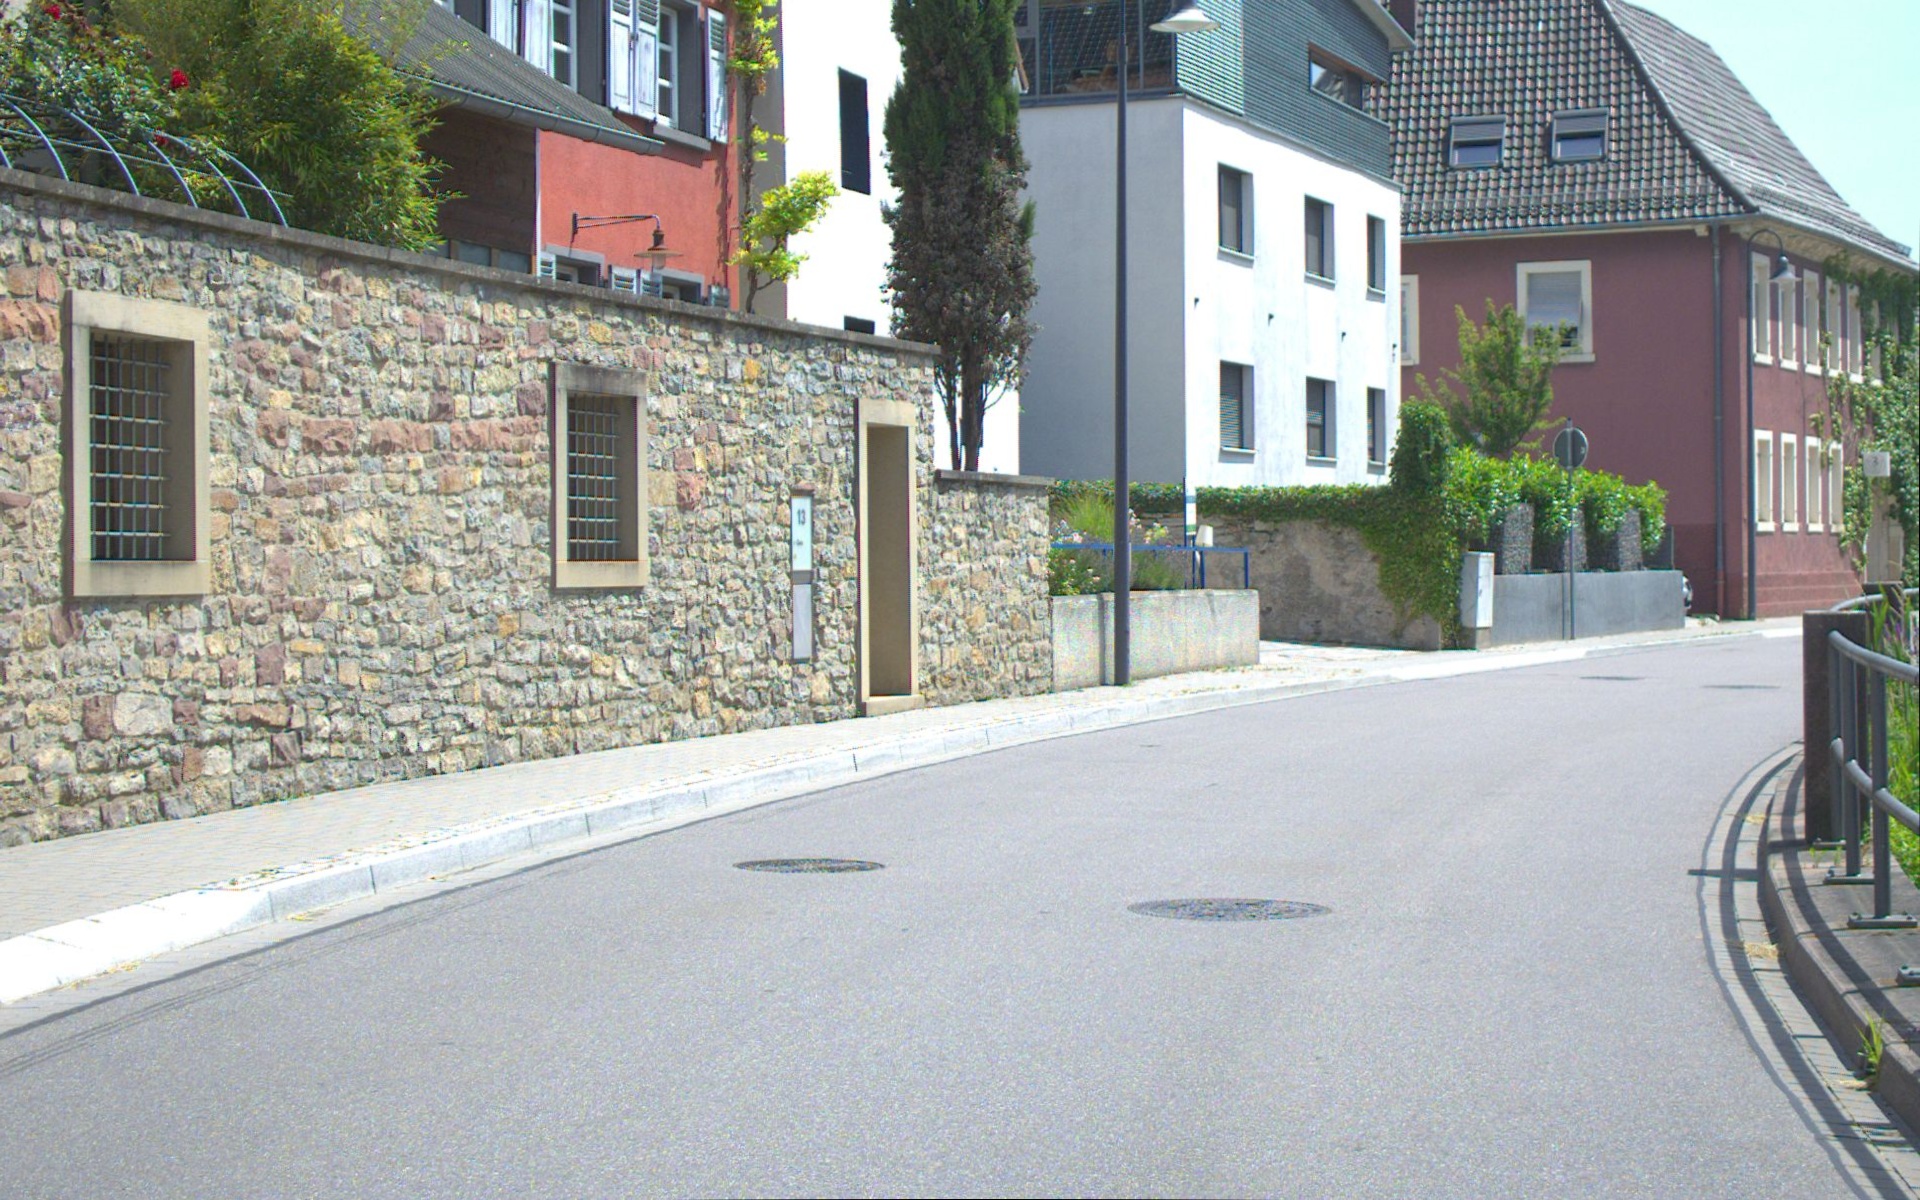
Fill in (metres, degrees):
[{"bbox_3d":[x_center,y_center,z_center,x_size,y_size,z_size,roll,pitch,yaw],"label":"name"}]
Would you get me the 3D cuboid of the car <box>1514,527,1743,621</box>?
[{"bbox_3d":[11.752,-0.477,60.430,3.570,1.401,1.649,4,3,26],"label":"car"}]
